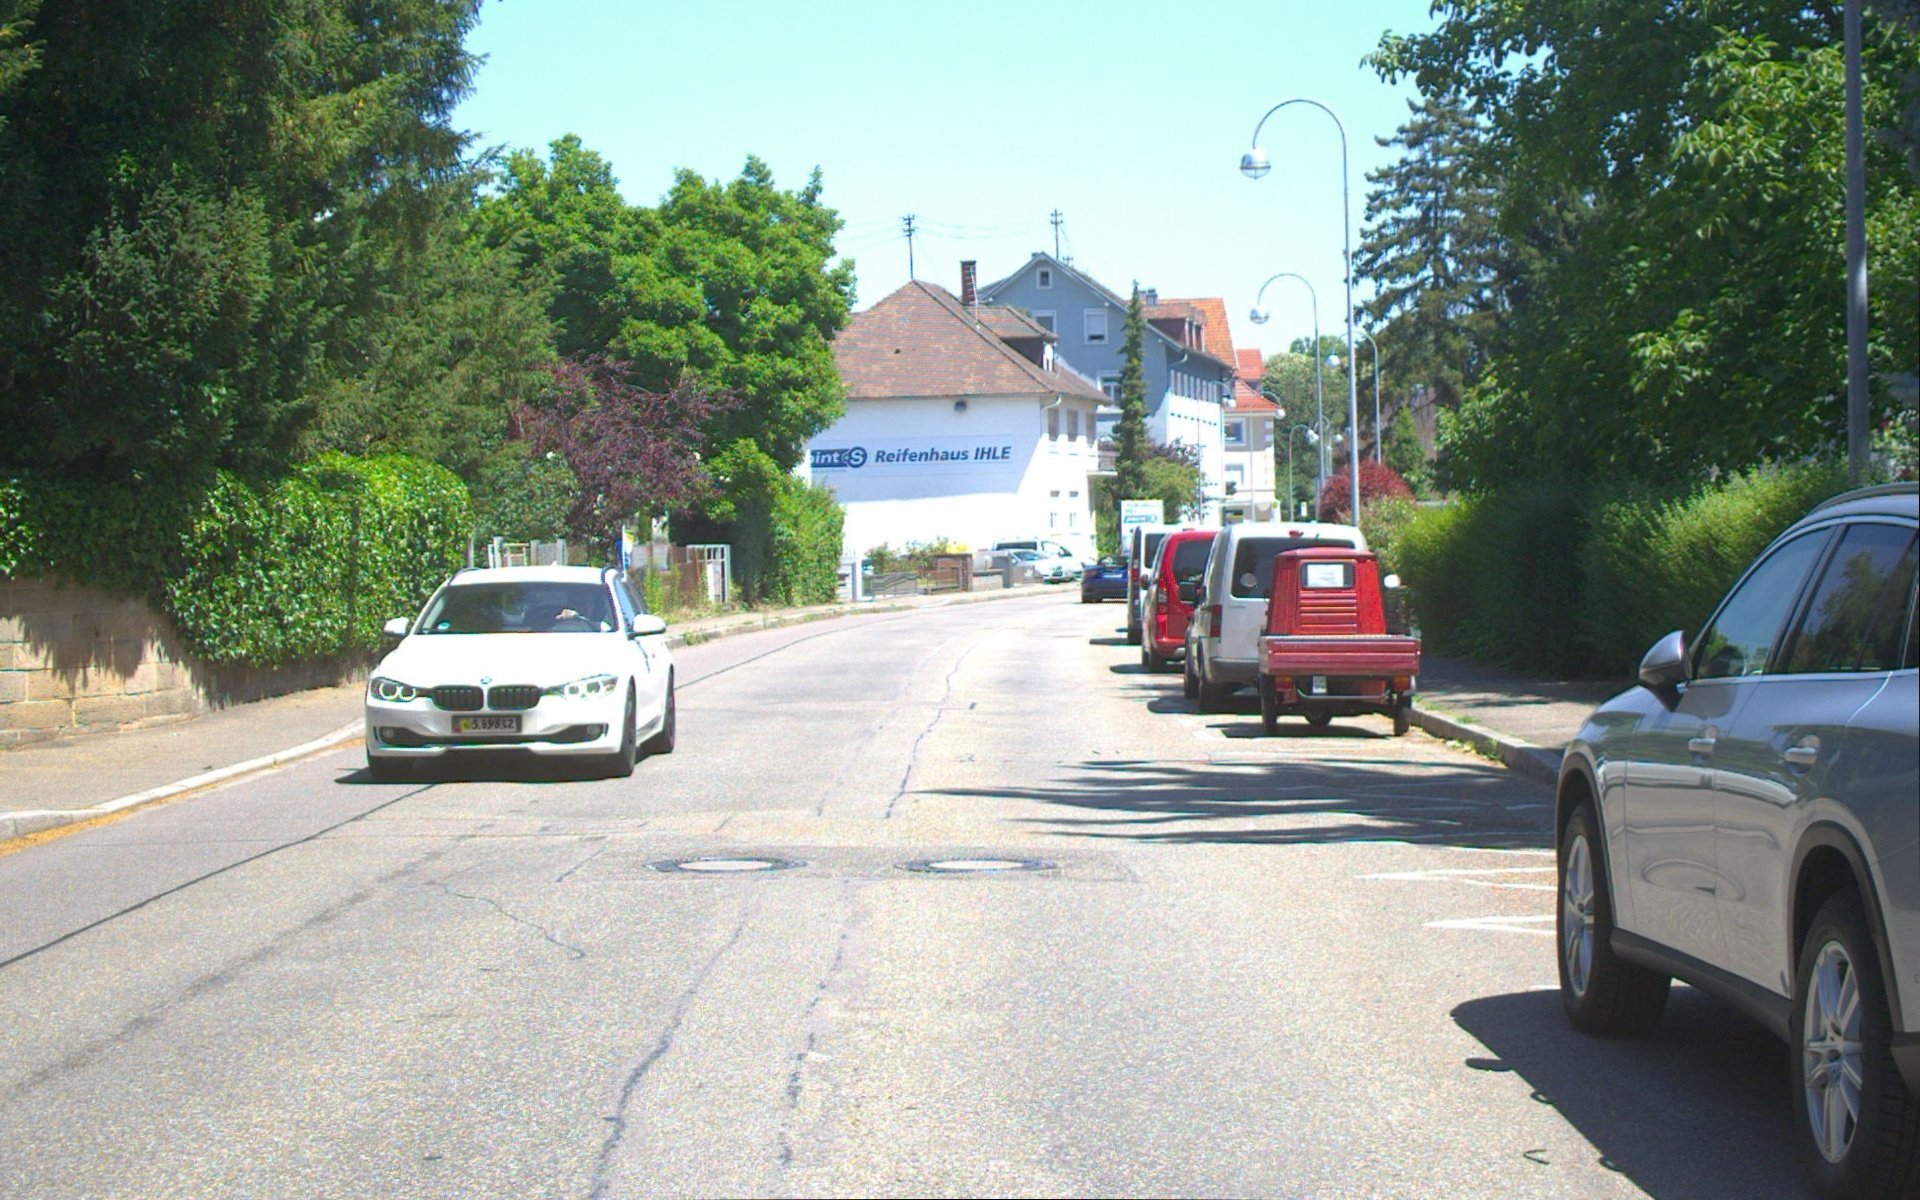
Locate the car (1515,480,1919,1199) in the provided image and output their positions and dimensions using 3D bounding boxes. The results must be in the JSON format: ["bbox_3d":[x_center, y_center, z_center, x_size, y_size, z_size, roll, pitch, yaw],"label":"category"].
[{"bbox_3d":[2.776,0.544,9.000,1.771,1.626,4.605,1,1,-1],"label":"car"}]

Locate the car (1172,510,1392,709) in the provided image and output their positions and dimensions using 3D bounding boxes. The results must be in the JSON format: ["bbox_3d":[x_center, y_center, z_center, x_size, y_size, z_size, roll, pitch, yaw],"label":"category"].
[{"bbox_3d":[3.069,0.049,33.531,1.746,1.776,4.543,1,1,1],"label":"car"}]

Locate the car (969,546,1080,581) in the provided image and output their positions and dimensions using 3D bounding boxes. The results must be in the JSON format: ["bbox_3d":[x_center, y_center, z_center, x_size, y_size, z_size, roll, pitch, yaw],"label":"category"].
[{"bbox_3d":[2.498,-1.438,134.067,4.139,1.339,1.906,1,2,44],"label":"car"}]

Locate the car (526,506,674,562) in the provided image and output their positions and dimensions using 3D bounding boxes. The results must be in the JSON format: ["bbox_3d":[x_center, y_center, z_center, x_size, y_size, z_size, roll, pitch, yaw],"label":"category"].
[{"bbox_3d":[-10.135,-1.865,96.995,3.986,1.505,1.800,1,1,-1],"label":"car"}]

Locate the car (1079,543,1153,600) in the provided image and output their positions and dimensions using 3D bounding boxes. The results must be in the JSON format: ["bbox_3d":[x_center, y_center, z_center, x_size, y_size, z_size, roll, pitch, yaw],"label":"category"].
[{"bbox_3d":[4.382,-0.800,96.269,1.794,1.505,3.999,2,1,6],"label":"car"}]

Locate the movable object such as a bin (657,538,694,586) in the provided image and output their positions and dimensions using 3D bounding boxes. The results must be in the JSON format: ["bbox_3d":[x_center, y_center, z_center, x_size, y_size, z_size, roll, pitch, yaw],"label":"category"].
[{"bbox_3d":[-5.843,-0.779,70.608,0.708,0.993,0.474,0,1,1],"label":"movable object such as a bin"}]

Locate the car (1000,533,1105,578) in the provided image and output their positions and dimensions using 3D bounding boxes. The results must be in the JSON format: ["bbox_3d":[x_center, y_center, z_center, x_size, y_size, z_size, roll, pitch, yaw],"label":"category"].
[{"bbox_3d":[3.772,-1.792,139.523,4.129,1.768,1.828,0,1,7],"label":"car"}]

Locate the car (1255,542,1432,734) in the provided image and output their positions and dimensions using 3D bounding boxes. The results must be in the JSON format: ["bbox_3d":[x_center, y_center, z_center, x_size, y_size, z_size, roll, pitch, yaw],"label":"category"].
[{"bbox_3d":[3.161,0.283,28.665,1.261,1.490,2.709,1,1,3],"label":"car"}]

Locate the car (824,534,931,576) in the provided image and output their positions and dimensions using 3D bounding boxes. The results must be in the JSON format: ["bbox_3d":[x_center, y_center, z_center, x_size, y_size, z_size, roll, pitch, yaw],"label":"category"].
[{"bbox_3d":[-3.106,-1.718,129.317,1.795,1.505,3.998,-2,2,-43],"label":"car"}]

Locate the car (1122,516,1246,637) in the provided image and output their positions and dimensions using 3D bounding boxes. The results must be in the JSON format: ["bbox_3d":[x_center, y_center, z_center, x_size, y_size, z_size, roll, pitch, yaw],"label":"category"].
[{"bbox_3d":[3.662,-0.410,56.909,1.903,1.918,4.718,0,1,2],"label":"car"}]

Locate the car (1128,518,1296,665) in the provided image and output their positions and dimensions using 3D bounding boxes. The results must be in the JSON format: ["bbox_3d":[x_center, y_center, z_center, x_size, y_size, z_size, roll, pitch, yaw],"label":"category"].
[{"bbox_3d":[3.127,-0.129,43.424,1.903,1.722,4.391,1,1,2],"label":"car"}]

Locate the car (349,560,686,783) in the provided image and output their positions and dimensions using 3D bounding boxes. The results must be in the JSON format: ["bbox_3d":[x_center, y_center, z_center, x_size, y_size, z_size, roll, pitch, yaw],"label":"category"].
[{"bbox_3d":[-3.093,0.444,24.911,1.864,1.379,4.605,-1,1,0],"label":"car"}]
